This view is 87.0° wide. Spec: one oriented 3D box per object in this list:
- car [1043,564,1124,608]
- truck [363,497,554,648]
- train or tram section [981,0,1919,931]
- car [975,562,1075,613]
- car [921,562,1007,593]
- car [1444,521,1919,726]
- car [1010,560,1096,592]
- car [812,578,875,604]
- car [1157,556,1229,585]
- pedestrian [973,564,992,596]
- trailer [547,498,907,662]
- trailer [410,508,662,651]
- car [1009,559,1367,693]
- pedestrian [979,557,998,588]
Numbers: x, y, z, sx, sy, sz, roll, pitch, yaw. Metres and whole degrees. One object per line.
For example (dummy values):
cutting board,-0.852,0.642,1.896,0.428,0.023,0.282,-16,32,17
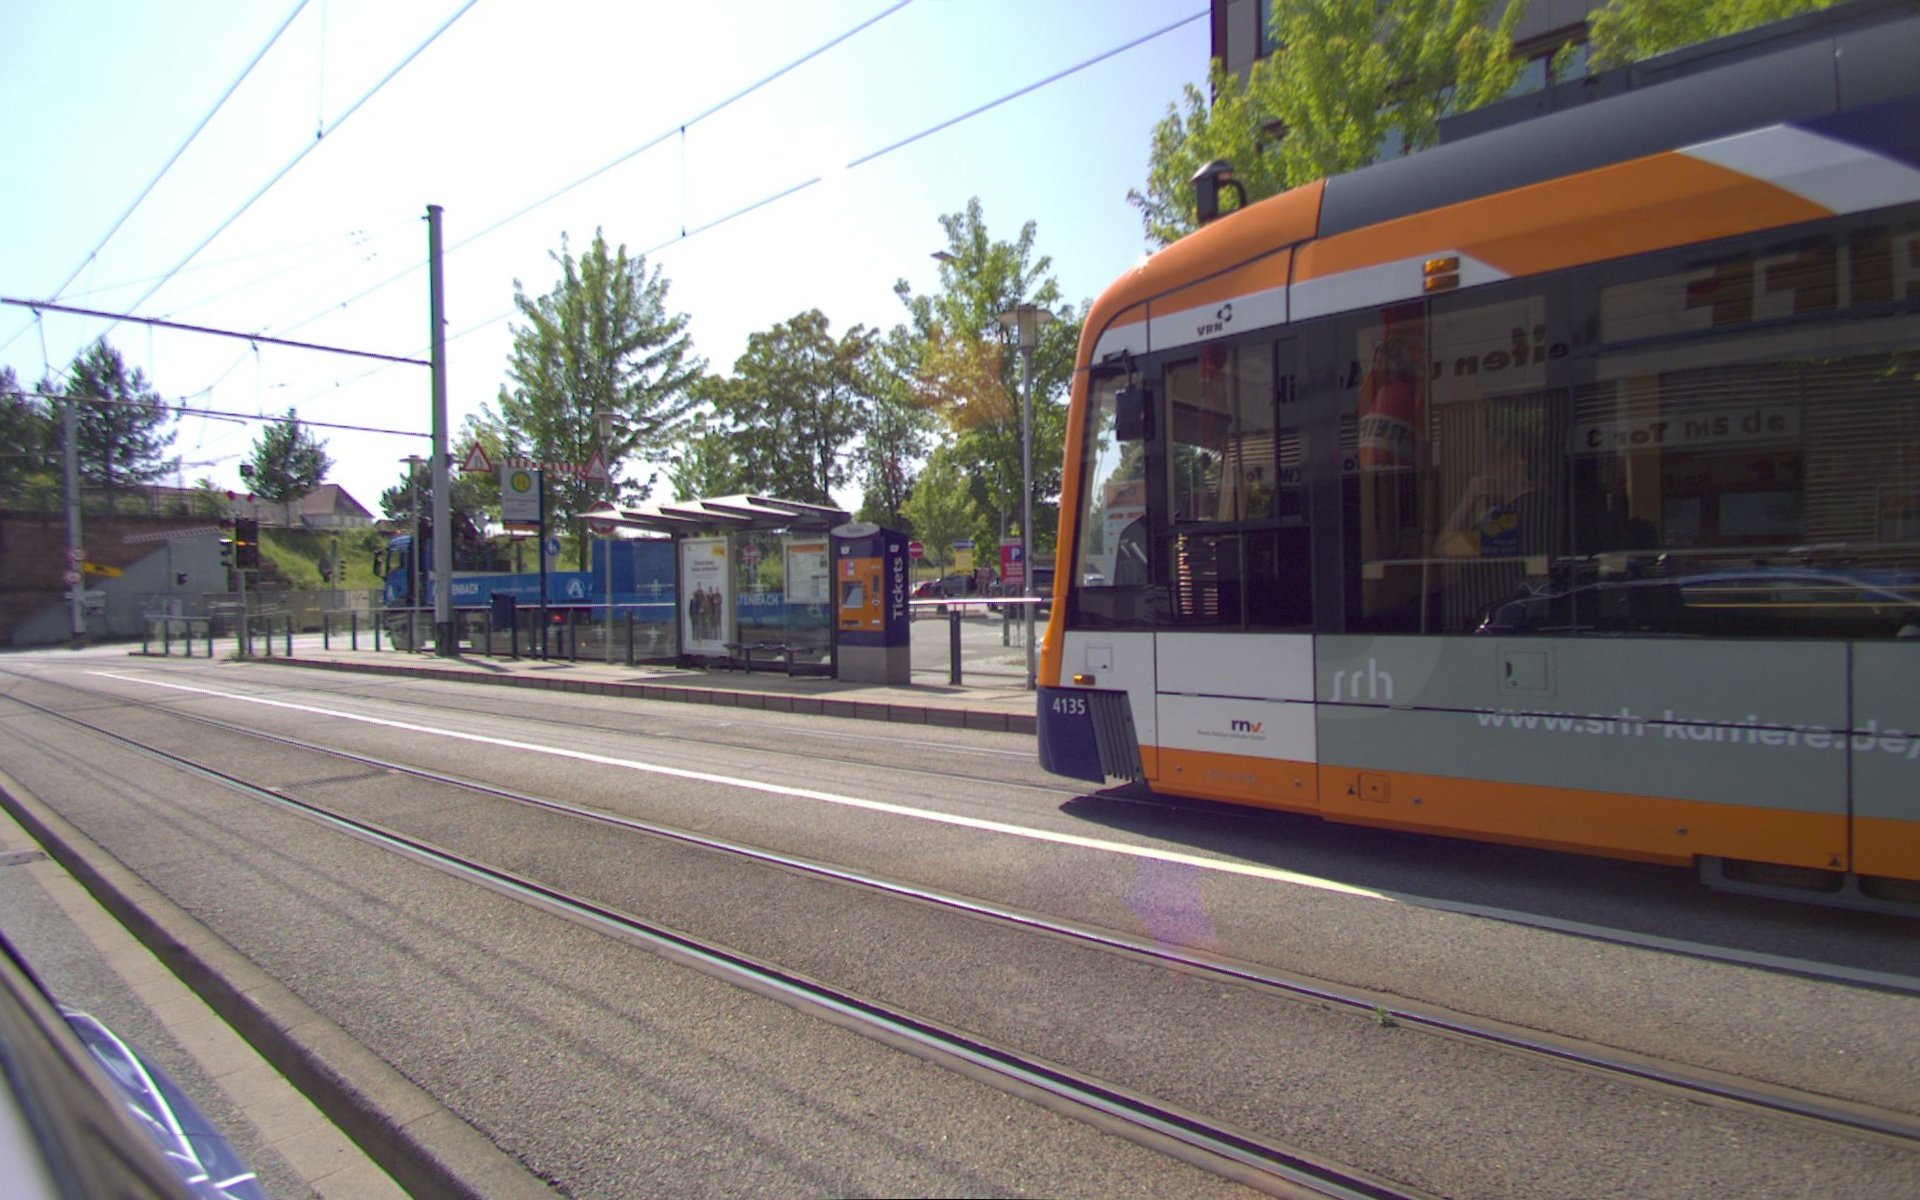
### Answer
car,4.557,-0.578,38.025,1.888,1.504,4.877,-2,2,-6
truck,-13.452,-0.644,27.035,5.036,3.636,2.716,-1,0,40
train or tram section,3.162,-0.708,4.953,5.738,3.559,2.584,-1,0,40
car,2.179,-0.486,35.671,2.151,1.606,5.129,0,3,-12
car,0.209,-1.131,51.195,3.961,1.348,1.707,-3,0,21
car,6.926,0.216,9.431,4.068,1.596,1.705,-1,-2,40
car,5.366,-1.362,57.964,4.761,1.504,1.848,-3,0,9
car,-8.135,-0.641,70.795,1.848,1.628,4.311,3,3,41
car,15.852,-2.003,68.957,4.667,1.817,1.993,-1,0,12
pedestrian,1.088,-0.984,49.171,0.743,1.538,0.566,-2,1,-21
trailer,-4.786,-0.292,19.798,7.593,2.648,2.769,-1,0,39
trailer,-10.381,-0.399,24.438,6.893,3.000,2.716,-1,0,40
car,2.863,0.351,13.249,4.276,1.484,1.705,-1,-3,40
pedestrian,1.480,-1.428,52.497,0.743,1.538,0.566,-2,1,-27
